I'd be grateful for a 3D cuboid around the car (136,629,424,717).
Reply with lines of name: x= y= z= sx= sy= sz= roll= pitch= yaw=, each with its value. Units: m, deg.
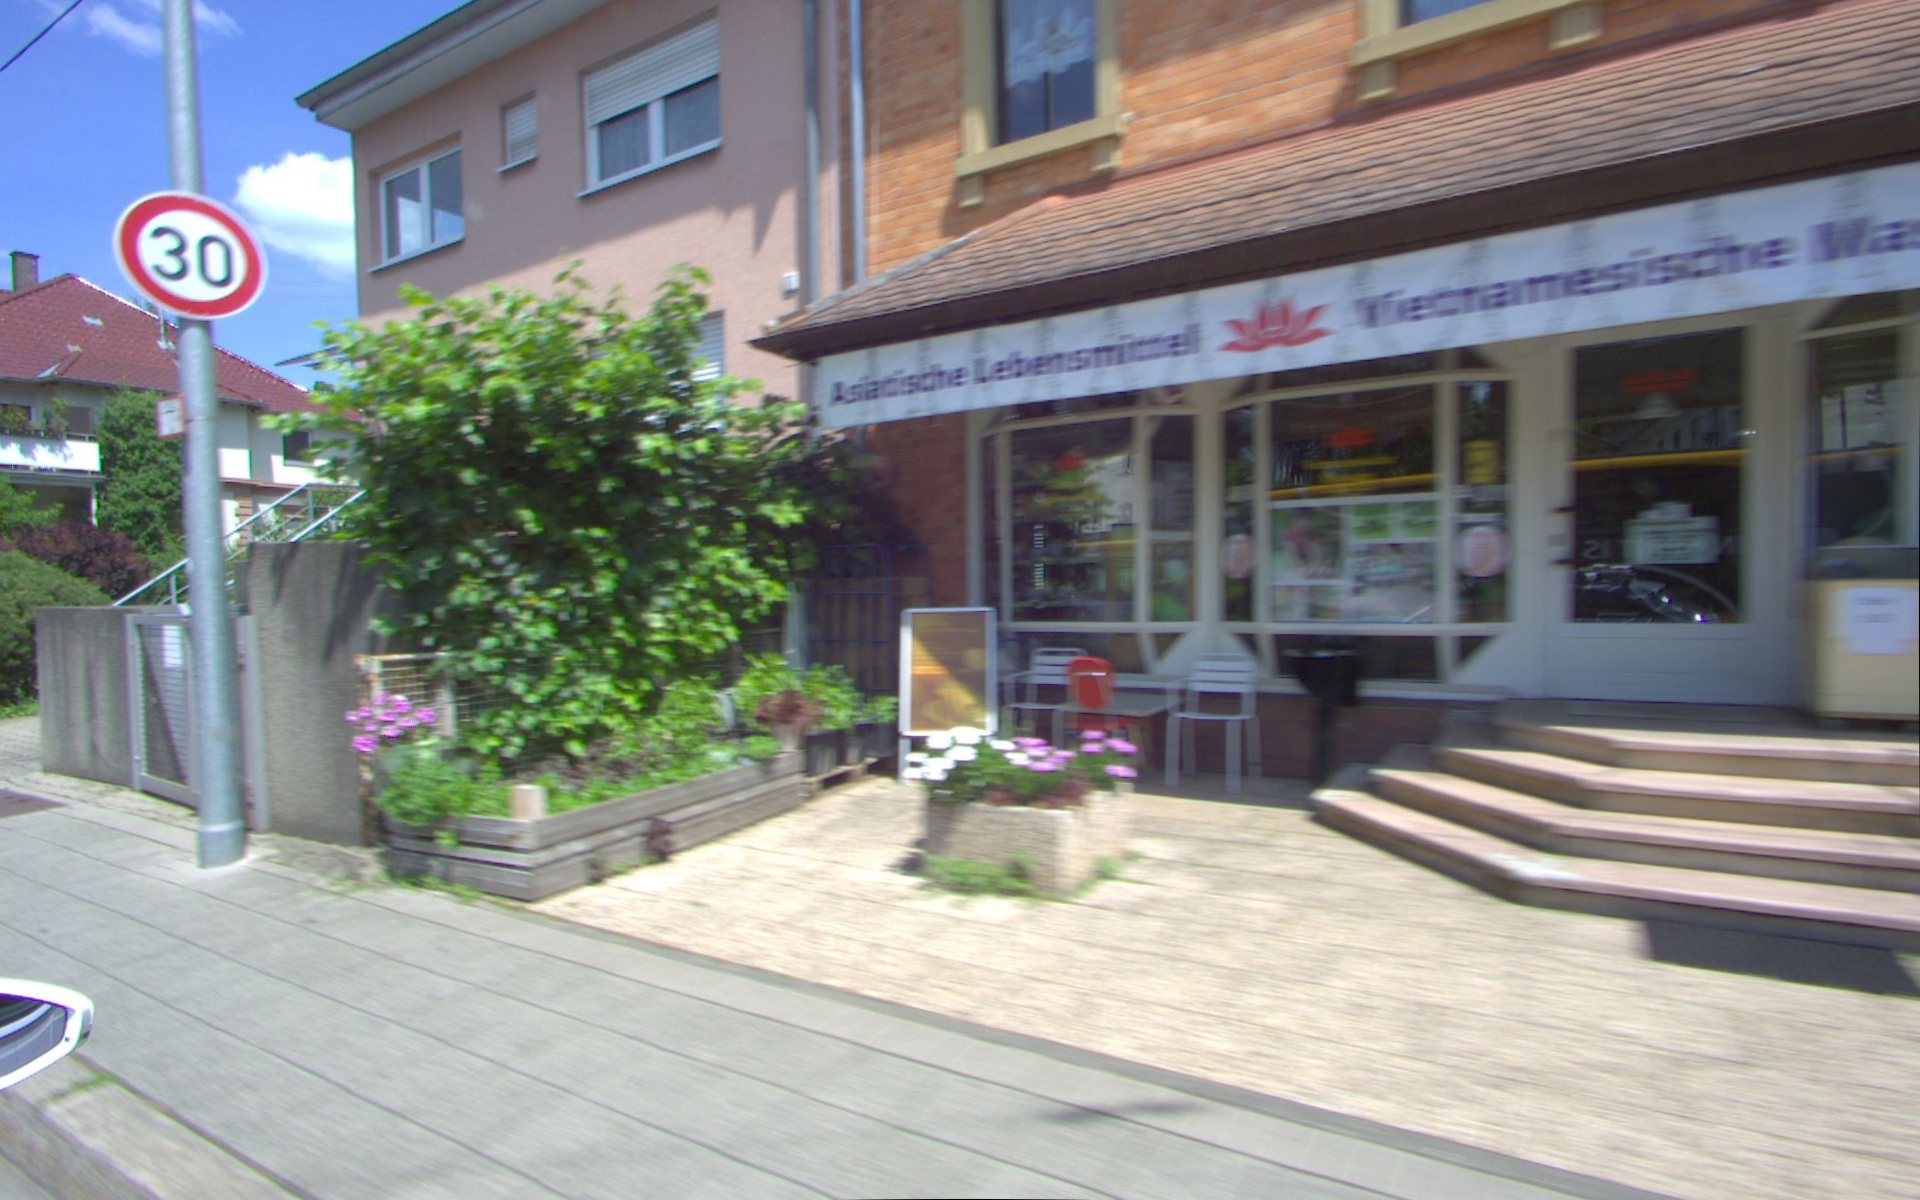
car: x=-12.713 y=1.435 z=18.987 sx=1.698 sy=1.441 sz=4.129 roll=-1 pitch=-6 yaw=33
